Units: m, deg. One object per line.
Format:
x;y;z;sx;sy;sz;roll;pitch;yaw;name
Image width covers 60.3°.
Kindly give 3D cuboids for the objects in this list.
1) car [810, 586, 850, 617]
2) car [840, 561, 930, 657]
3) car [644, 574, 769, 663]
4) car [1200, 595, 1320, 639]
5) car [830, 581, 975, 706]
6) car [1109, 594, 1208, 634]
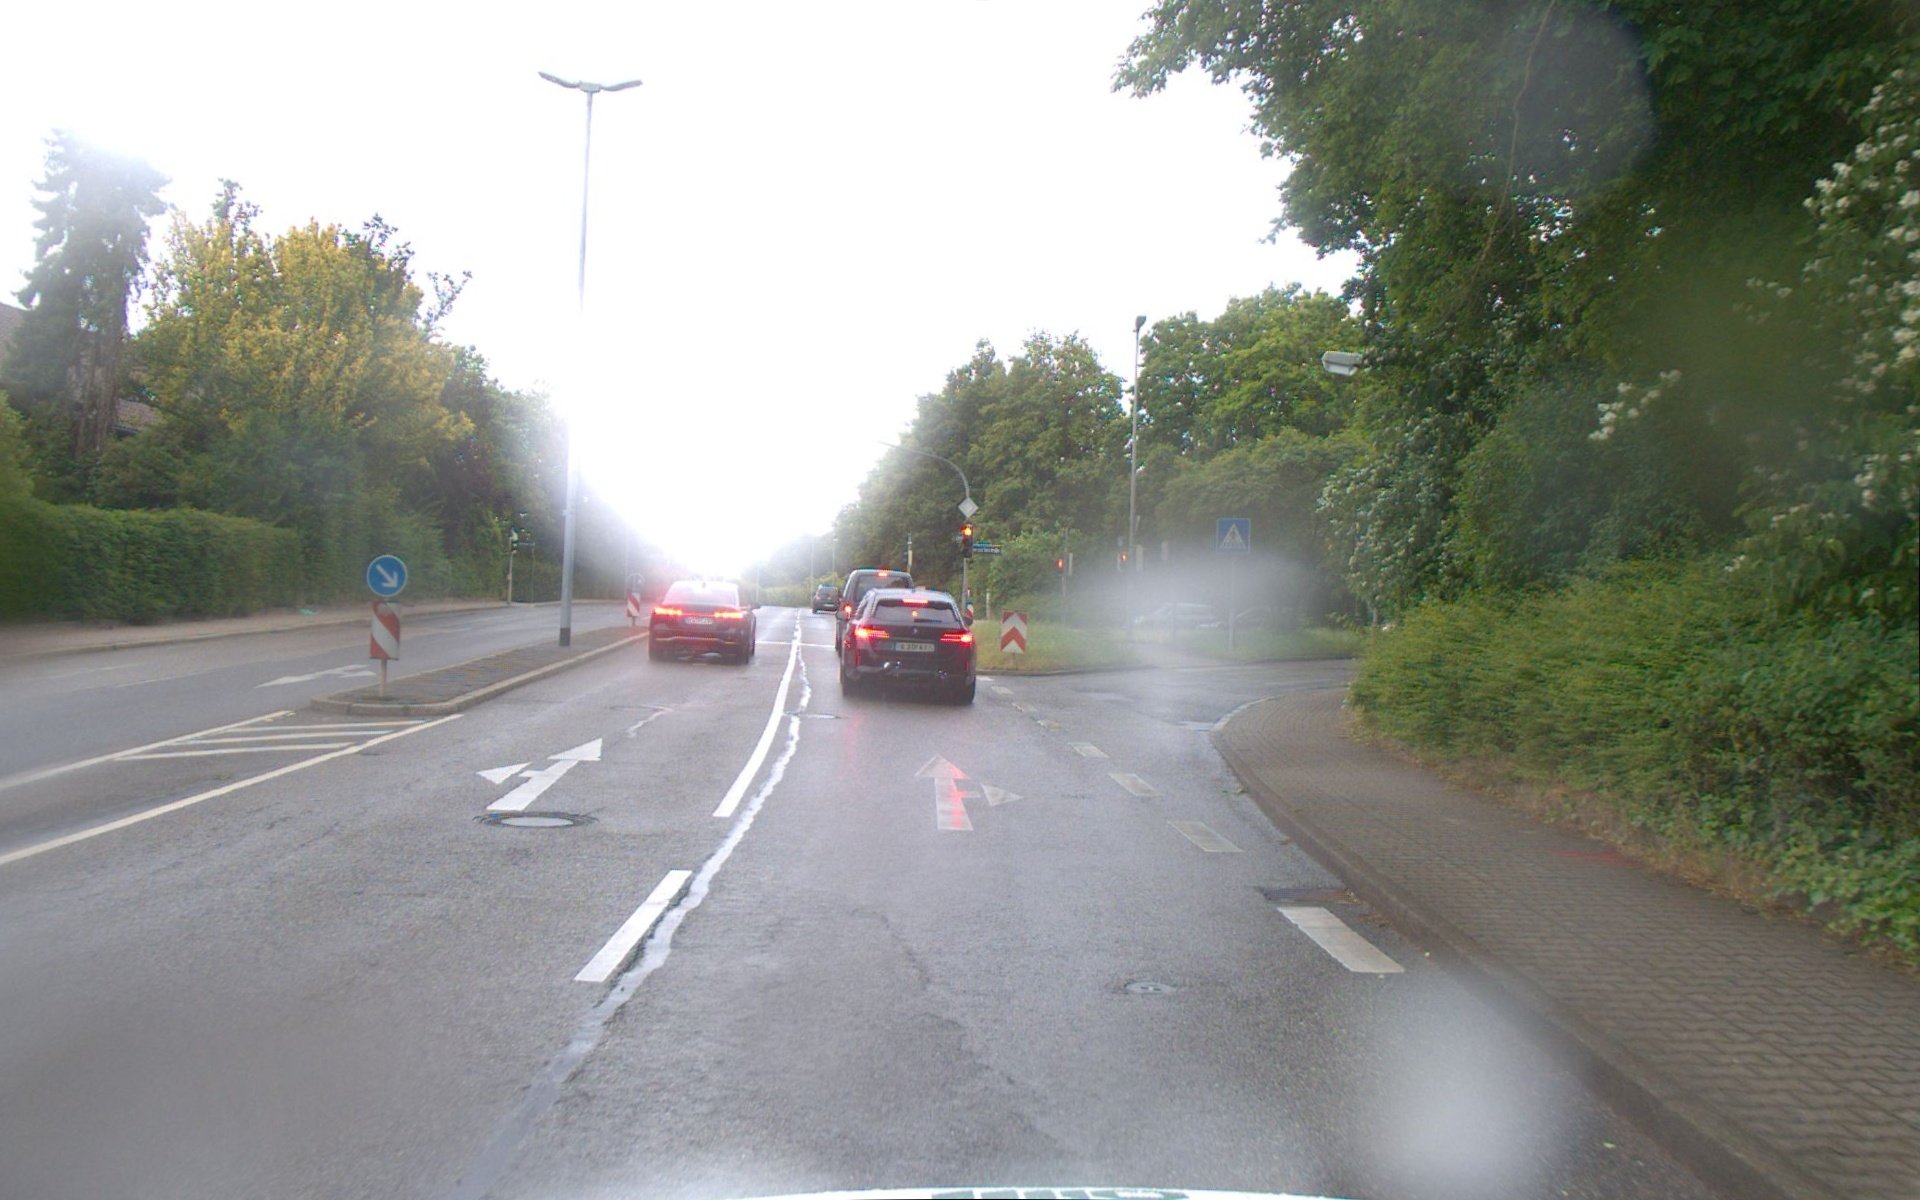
-7.138;0.090;90.586;1.956;1.652;3.945;0;0;-8;car
-1.683;0.181;36.283;1.782;1.901;3.949;3;0;-4;car
-4.690;0.324;31.127;1.954;1.554;4.324;0;0;-4;car
10.944;0.611;60.412;3.912;1.535;1.898;1;0;-8;car
-0.804;0.611;24.526;1.860;1.578;4.613;3;-1;-1;car
7.580;0.523;63.370;3.436;1.452;1.700;-1;-1;-8;car
